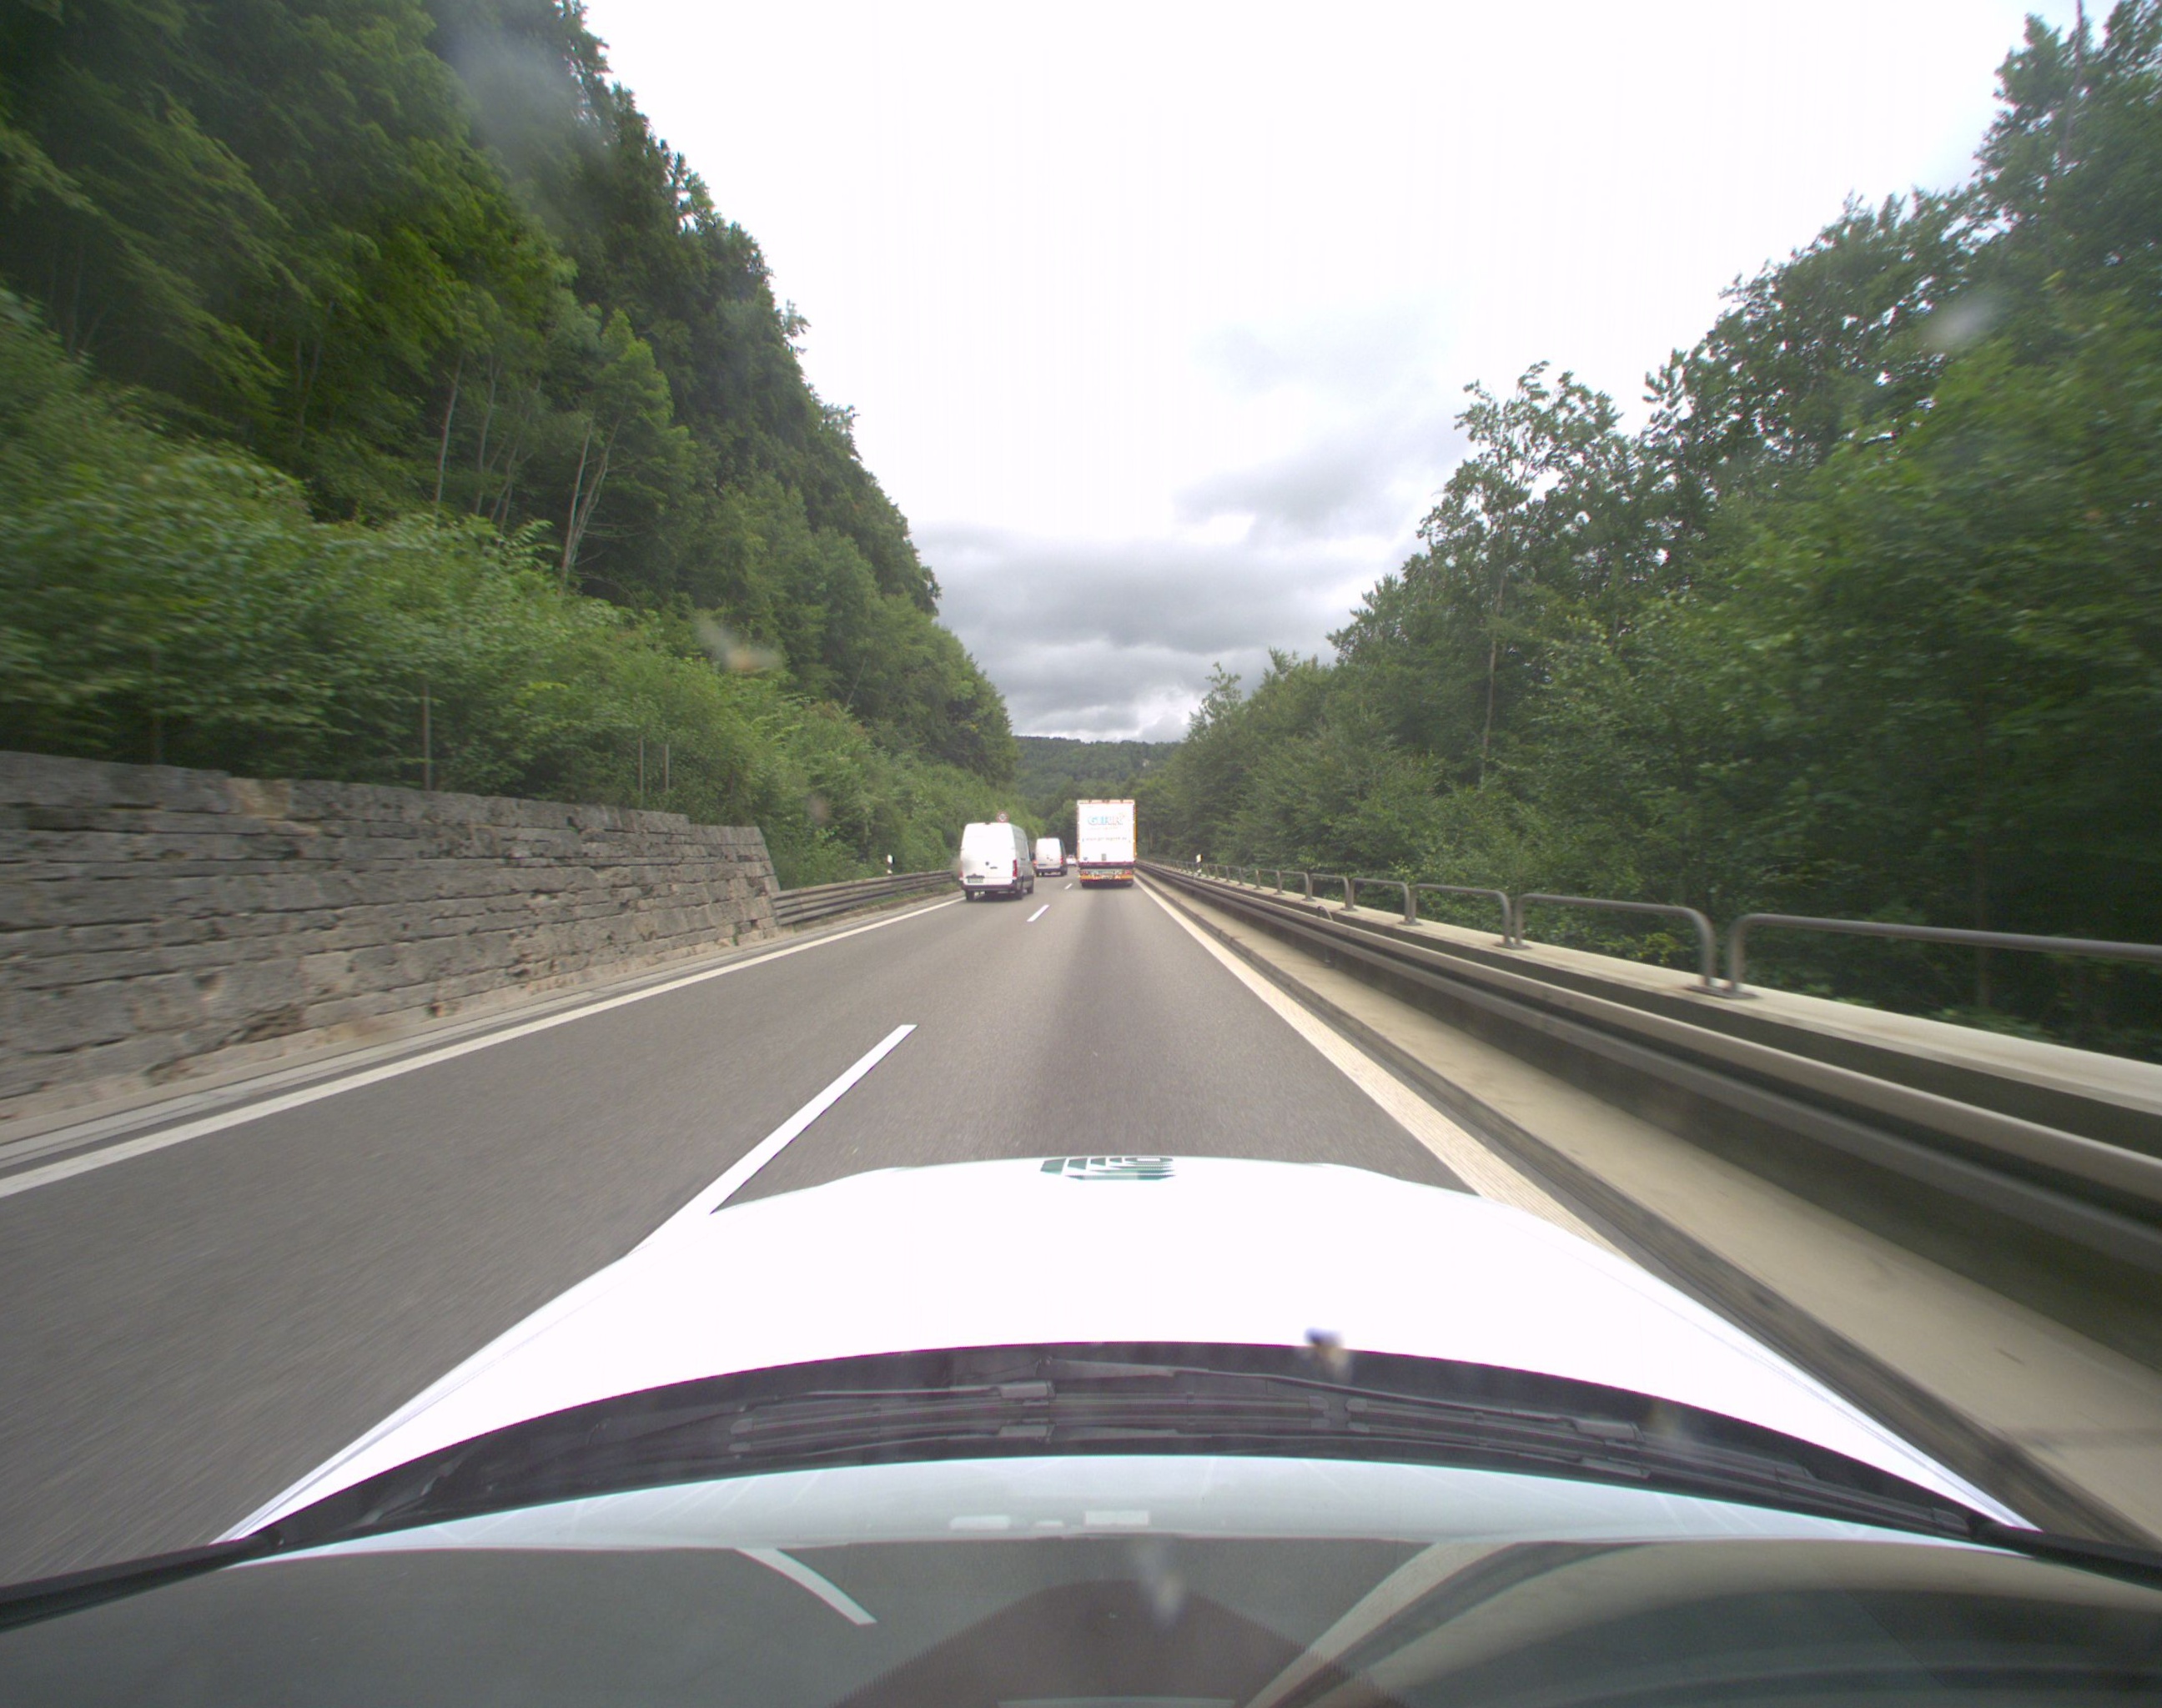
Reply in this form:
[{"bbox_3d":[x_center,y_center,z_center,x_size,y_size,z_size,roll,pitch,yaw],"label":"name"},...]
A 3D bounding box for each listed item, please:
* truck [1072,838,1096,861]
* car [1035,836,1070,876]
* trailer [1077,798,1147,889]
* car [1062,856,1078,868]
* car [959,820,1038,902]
[{"bbox_3d":[0.486,-0.731,143.744,3.052,3.986,13.674,0,0,-5],"label":"truck"},{"bbox_3d":[-1.984,0.111,58.428,1.932,2.672,5.995,-1,0,3],"label":"car"},{"bbox_3d":[1.532,-0.611,41.640,3.046,3.985,12.142,0,1,2],"label":"trailer"},{"bbox_3d":[-1.315,0.937,99.720,1.725,1.421,4.001,0,0,2],"label":"car"},{"bbox_3d":[-2.908,0.206,30.321,1.981,2.672,6.939,-1,0,2],"label":"car"}]
